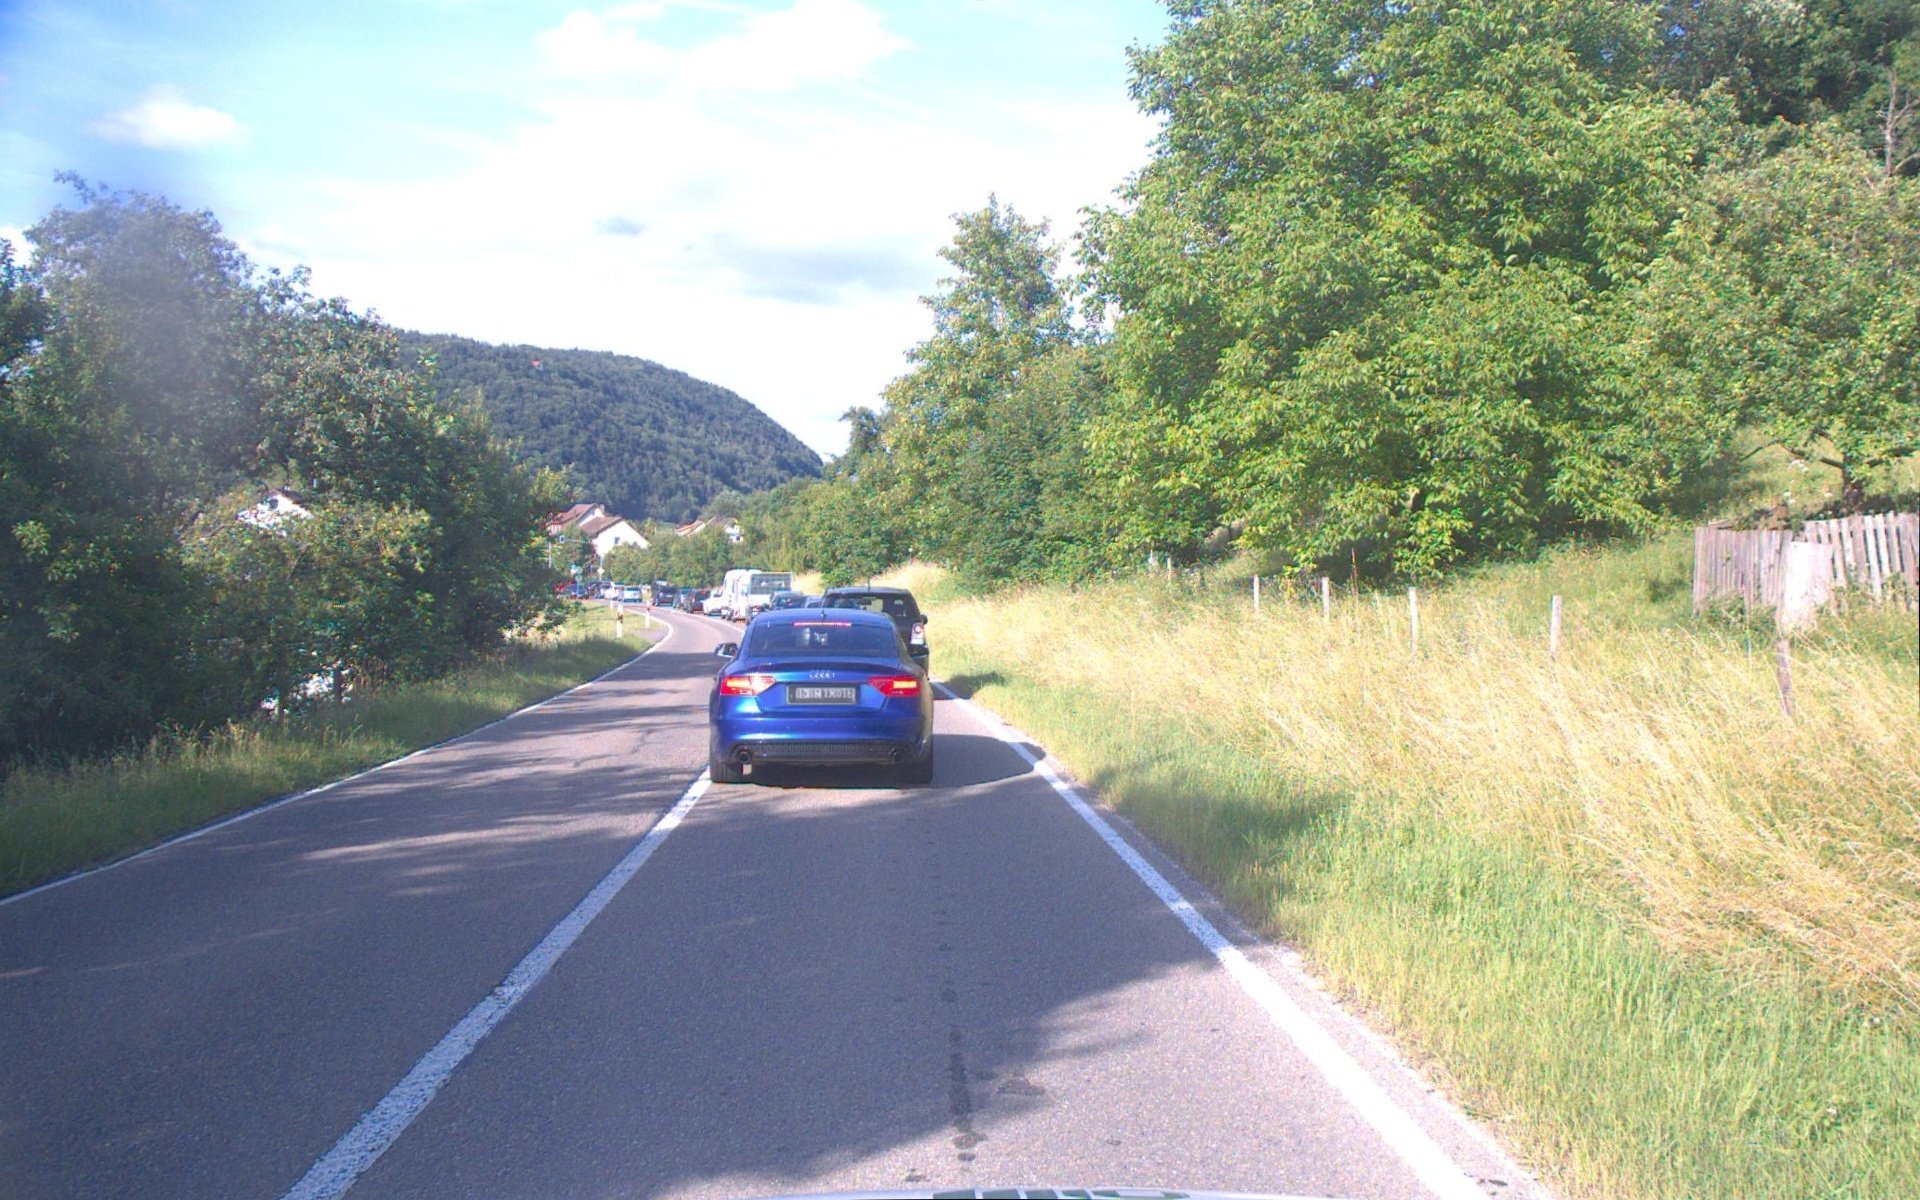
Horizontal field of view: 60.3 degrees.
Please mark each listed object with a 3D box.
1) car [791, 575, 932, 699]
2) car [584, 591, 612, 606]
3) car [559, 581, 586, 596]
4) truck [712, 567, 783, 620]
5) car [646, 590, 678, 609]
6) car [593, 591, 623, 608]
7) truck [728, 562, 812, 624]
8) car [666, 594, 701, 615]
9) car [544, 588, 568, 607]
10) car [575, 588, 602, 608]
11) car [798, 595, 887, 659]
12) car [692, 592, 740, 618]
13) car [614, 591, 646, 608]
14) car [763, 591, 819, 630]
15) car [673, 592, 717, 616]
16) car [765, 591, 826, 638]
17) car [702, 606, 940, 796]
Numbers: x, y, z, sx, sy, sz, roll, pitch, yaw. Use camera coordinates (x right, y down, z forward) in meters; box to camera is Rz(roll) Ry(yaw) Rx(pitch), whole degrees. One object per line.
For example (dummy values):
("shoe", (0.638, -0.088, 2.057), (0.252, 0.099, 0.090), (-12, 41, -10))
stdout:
("car", (-1.467, 0.533, 25.315), (1.953, 1.732, 3.998), (1, 0, -2))
("car", (-35.679, -0.141, 163.020), (1.968, 1.508, 3.969), (1, 0, -25))
("car", (-37.621, -1.083, 160.608), (1.966, 1.400, 3.973), (1, 0, -22))
("truck", (-11.673, -0.358, 90.139), (2.815, 2.712, 10.609), (1, 0, -13))
("car", (-23.752, -0.033, 131.944), (1.963, 1.508, 3.979), (1, 0, -19))
("car", (-33.444, -0.029, 157.218), (1.968, 1.508, 3.969), (1, 0, -25))
("truck", (-9.186, -0.333, 78.880), (2.815, 2.712, 10.358), (1, 0, -13))
("car", (-20.419, 0.306, 122.007), (1.963, 1.508, 3.979), (1, 0, -19))
("car", (-45.445, -0.289, 186.025), (1.967, 2.049, 3.971), (1, 0, -23))
("car", (-38.609, -0.166, 171.742), (1.967, 2.049, 3.971), (1, 0, -23))
("car", (-2.717, 0.612, 38.887), (1.953, 1.411, 3.998), (1, 0, -2))
("car", (-14.620, 0.290, 99.059), (1.966, 1.508, 3.972), (1, 0, -23))
("car", (-29.696, -0.022, 148.954), (1.968, 1.508, 3.969), (1, 0, -25))
("car", (-6.818, 0.405, 66.500), (1.957, 1.508, 3.991), (1, 0, -10))
("car", (-17.068, 0.239, 106.319), (1.966, 1.508, 3.972), (1, 0, -23))
("car", (-5.600, 0.490, 56.080), (1.956, 1.508, 3.994), (1, 0, -7))
("car", (-1.079, 0.756, 14.271), (1.757, 1.383, 3.999), (0, 0, -2))
